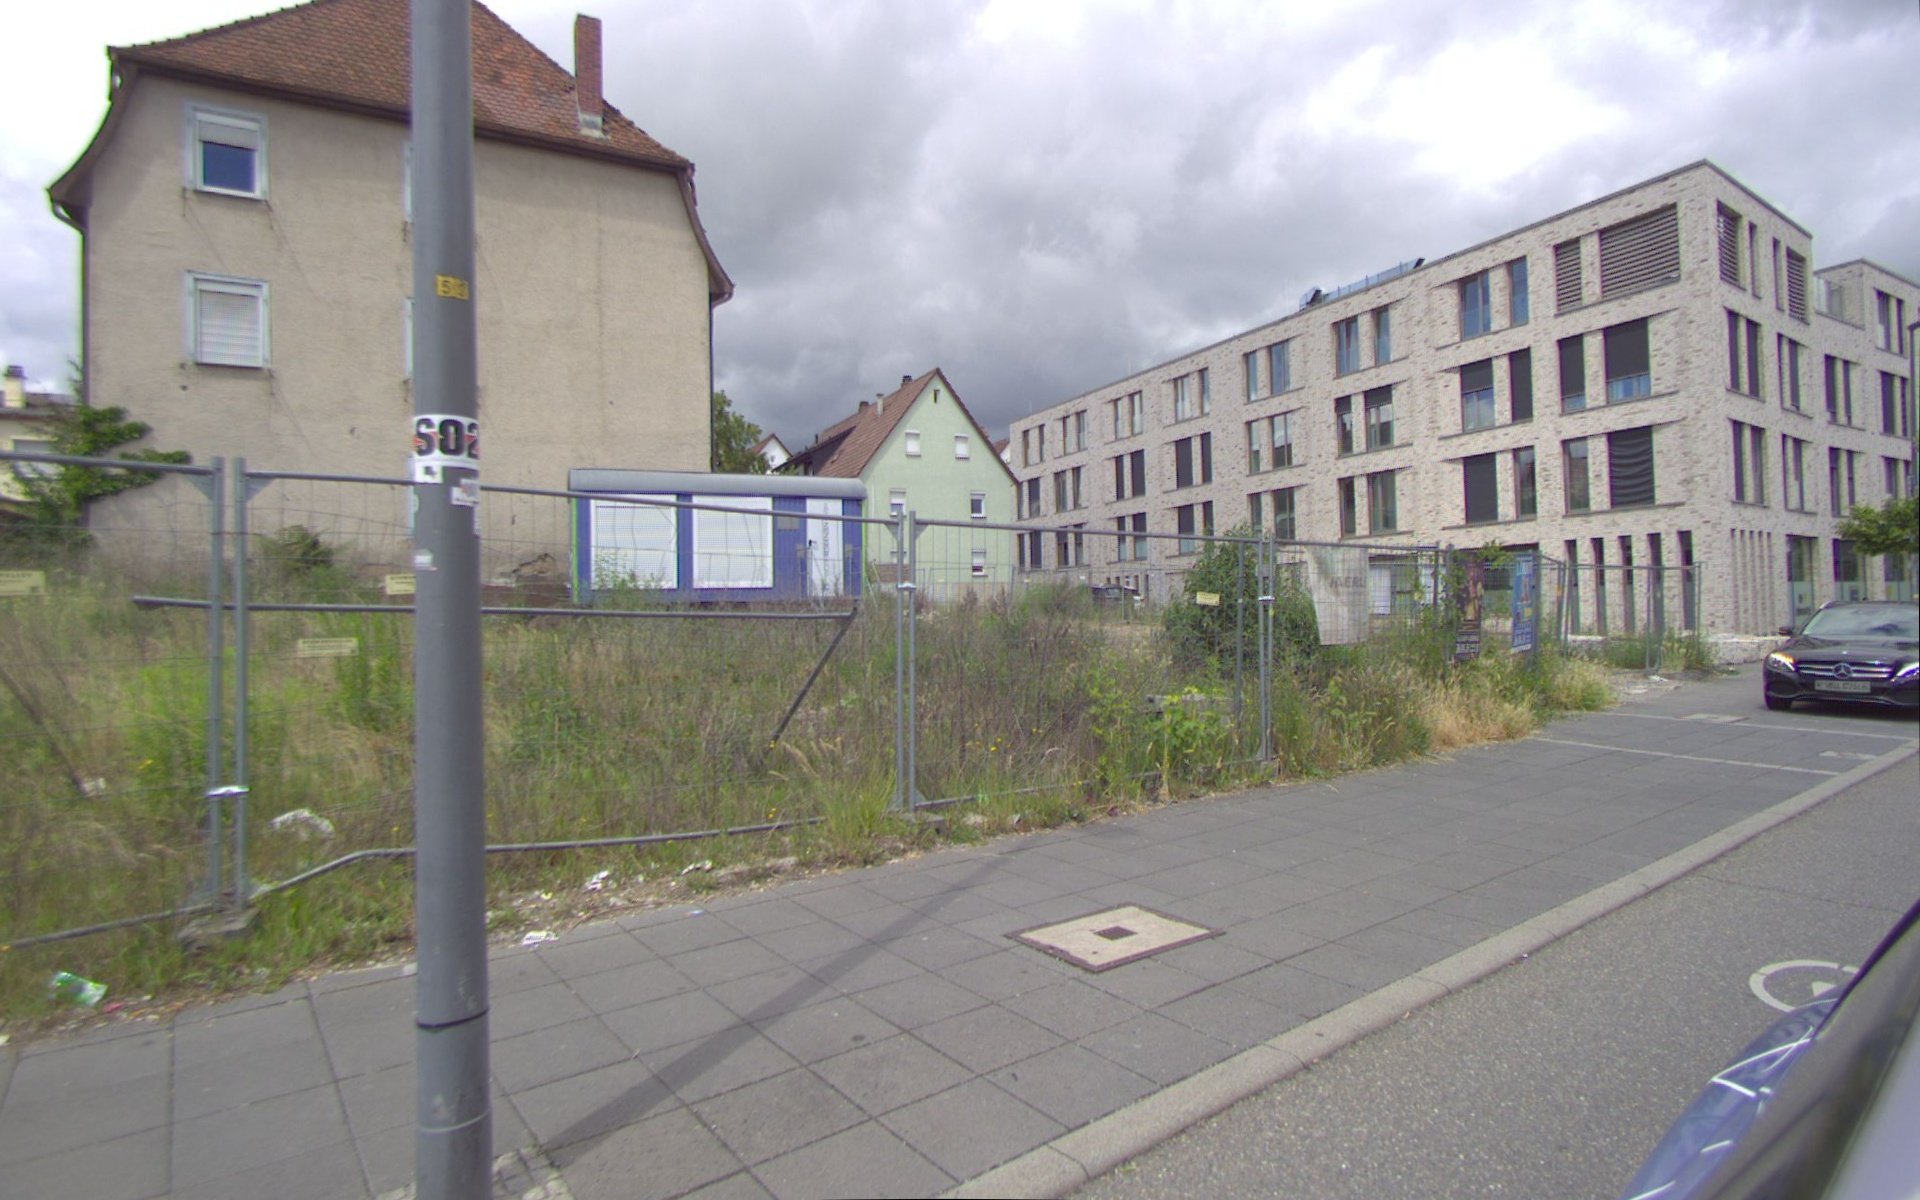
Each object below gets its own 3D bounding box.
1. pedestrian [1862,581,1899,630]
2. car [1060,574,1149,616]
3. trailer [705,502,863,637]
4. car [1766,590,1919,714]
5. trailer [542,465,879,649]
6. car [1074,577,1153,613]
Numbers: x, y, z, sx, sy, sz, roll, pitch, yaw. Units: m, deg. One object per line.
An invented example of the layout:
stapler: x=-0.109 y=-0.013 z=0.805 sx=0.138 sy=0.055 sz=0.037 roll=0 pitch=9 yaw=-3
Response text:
pedestrian: x=28.261 y=0.160 z=31.086 sx=0.775 sy=1.491 sz=0.610 roll=0 pitch=-1 yaw=-30
car: x=6.259 y=-0.264 z=44.271 sx=1.830 sy=1.626 sz=4.270 roll=3 pitch=0 yaw=-24
trailer: x=-4.842 y=-0.705 z=26.891 sx=2.363 sy=3.162 sz=6.168 roll=0 pitch=0 yaw=-27
car: x=12.685 y=0.612 z=13.809 sx=4.396 sy=1.470 sz=1.785 roll=0 pitch=0 yaw=-40
trailer: x=-4.848 y=-0.760 z=19.762 sx=6.033 sy=3.162 sz=2.416 roll=0 pitch=-1 yaw=-24
car: x=7.774 y=-0.269 z=51.510 sx=1.830 sy=1.626 sz=4.269 roll=3 pitch=0 yaw=-25
